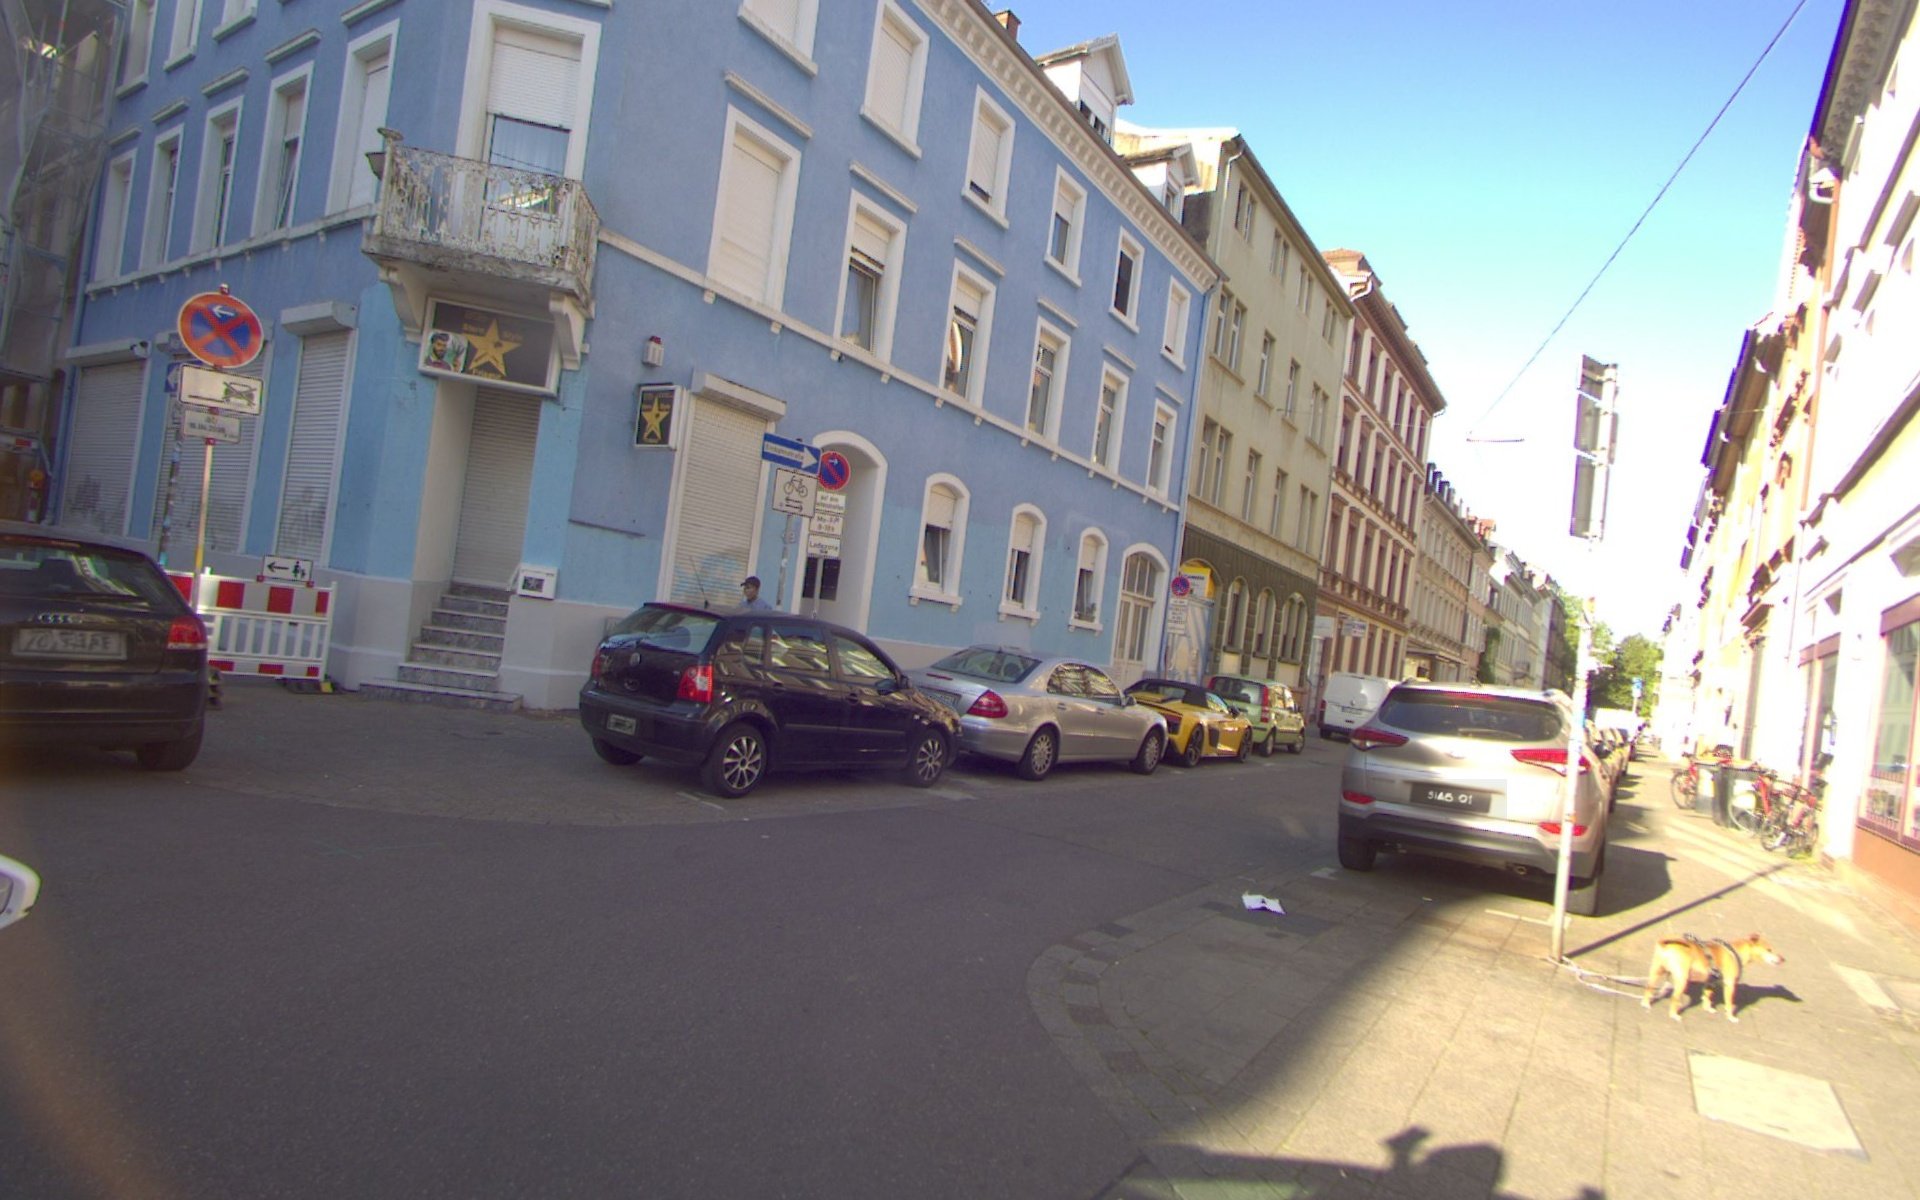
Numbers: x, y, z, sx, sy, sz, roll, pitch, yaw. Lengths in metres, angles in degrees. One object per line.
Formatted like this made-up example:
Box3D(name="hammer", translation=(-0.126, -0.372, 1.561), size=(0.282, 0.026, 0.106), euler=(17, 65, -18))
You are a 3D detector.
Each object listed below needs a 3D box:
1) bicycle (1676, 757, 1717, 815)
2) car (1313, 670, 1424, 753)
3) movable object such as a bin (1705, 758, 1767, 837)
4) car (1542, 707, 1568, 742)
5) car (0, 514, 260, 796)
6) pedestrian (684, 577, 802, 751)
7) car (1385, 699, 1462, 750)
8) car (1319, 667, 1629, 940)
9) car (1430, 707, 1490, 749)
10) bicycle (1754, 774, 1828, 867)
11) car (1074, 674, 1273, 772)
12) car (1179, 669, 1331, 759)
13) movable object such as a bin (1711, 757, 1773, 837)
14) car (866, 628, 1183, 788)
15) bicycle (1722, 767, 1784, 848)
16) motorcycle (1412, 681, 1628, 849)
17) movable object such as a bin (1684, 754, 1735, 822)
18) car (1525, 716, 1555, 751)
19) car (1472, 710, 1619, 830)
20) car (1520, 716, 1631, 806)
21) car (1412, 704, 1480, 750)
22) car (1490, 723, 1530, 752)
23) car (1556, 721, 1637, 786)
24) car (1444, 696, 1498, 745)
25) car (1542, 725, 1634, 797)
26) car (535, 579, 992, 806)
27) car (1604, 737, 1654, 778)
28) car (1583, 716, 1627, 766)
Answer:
Box3D(name="bicycle", translation=(14.742, 3.702, 20.161), size=(0.448, 1.020, 1.643), euler=(6, -4, 32))
Box3D(name="car", translation=(11.850, 3.261, 28.986), size=(1.807, 1.968, 4.544), euler=(7, -2, 35))
Box3D(name="movable object such as a bin", translation=(12.967, 3.284, 16.821), size=(0.669, 1.170, 0.568), euler=(6, -3, 33))
Box3D(name="car", translation=(55.691, 11.675, 94.164), size=(1.725, 2.947, 4.185), euler=(3, -5, 35))
Box3D(name="car", translation=(-6.447, 0.140, 6.469), size=(3.970, 1.450, 1.775), euler=(6, -3, 34))
Box3D(name="pedestrian", translation=(-2.489, 0.741, 11.570), size=(0.768, 1.870, 0.770), euler=(6, -3, 34))
Box3D(name="car", translation=(16.193, 4.363, 35.055), size=(1.725, 1.529, 3.909), euler=(2, -5, 35))
Box3D(name="car", translation=(4.714, 1.621, 8.876), size=(1.828, 1.650, 4.065), euler=(4, -4, 35))
Box3D(name="car", translation=(21.686, 5.567, 43.541), size=(1.725, 1.569, 3.909), euler=(2, -5, 35))
Box3D(name="bicycle", translation=(10.881, 2.855, 13.204), size=(0.448, 1.020, 1.643), euler=(6, -3, 32))
Box3D(name="car", translation=(3.730, 2.097, 17.030), size=(1.729, 1.241, 4.157), euler=(6, -3, 35))
Box3D(name="car", translation=(6.429, 2.491, 21.624), size=(1.730, 1.493, 3.973), euler=(9, -2, 37))
Box3D(name="movable object such as a bin", translation=(12.526, 3.143, 16.123), size=(0.657, 1.129, 0.716), euler=(6, -3, 36))
Box3D(name="car", translation=(1.020, 1.401, 12.763), size=(1.729, 1.450, 4.475), euler=(9, -2, 36))
Box3D(name="bicycle", translation=(11.655, 3.024, 14.821), size=(0.448, 1.020, 1.643), euler=(6, -4, 32))
Box3D(name="motorcycle", translation=(6.694, 1.969, 12.023), size=(2.305, 1.667, 0.848), euler=(9, -3, -21))
Box3D(name="movable object such as a bin", translation=(14.189, 3.552, 19.060), size=(0.657, 1.145, 0.671), euler=(6, -3, 36))
Box3D(name="car", translation=(47.403, 10.897, 82.199), size=(1.725, 2.603, 3.909), euler=(3, -5, 35))
Box3D(name="car", translation=(9.610, 2.694, 16.365), size=(1.725, 1.529, 3.909), euler=(2, -5, 35))
Box3D(name="car", translation=(12.969, 3.328, 21.097), size=(1.725, 1.529, 3.909), euler=(2, -5, 35))
Box3D(name="car", translation=(18.924, 4.957, 39.104), size=(1.725, 1.529, 3.909), euler=(2, -5, 35))
Box3D(name="car", translation=(34.350, 8.589, 62.778), size=(1.725, 1.529, 3.909), euler=(2, -5, 35))
Box3D(name="car", translation=(18.094, 4.315, 28.526), size=(1.725, 1.529, 3.909), euler=(2, -5, 35))
Box3D(name="car", translation=(24.537, 5.790, 48.217), size=(1.725, 2.075, 3.909), euler=(3, -5, 35))
Box3D(name="car", translation=(15.779, 3.978, 25.184), size=(1.725, 1.468, 3.909), euler=(2, -5, 35))
Box3D(name="car", translation=(-1.525, 0.866, 9.111), size=(1.650, 1.470, 3.873), euler=(7, -3, 35))
Box3D(name="car", translation=(29.845, 7.004, 44.859), size=(1.725, 1.529, 3.909), euler=(2, -5, 35))
Box3D(name="car", translation=(35.414, 7.736, 55.196), size=(1.818, 2.457, 3.909), euler=(3, -5, 35))
